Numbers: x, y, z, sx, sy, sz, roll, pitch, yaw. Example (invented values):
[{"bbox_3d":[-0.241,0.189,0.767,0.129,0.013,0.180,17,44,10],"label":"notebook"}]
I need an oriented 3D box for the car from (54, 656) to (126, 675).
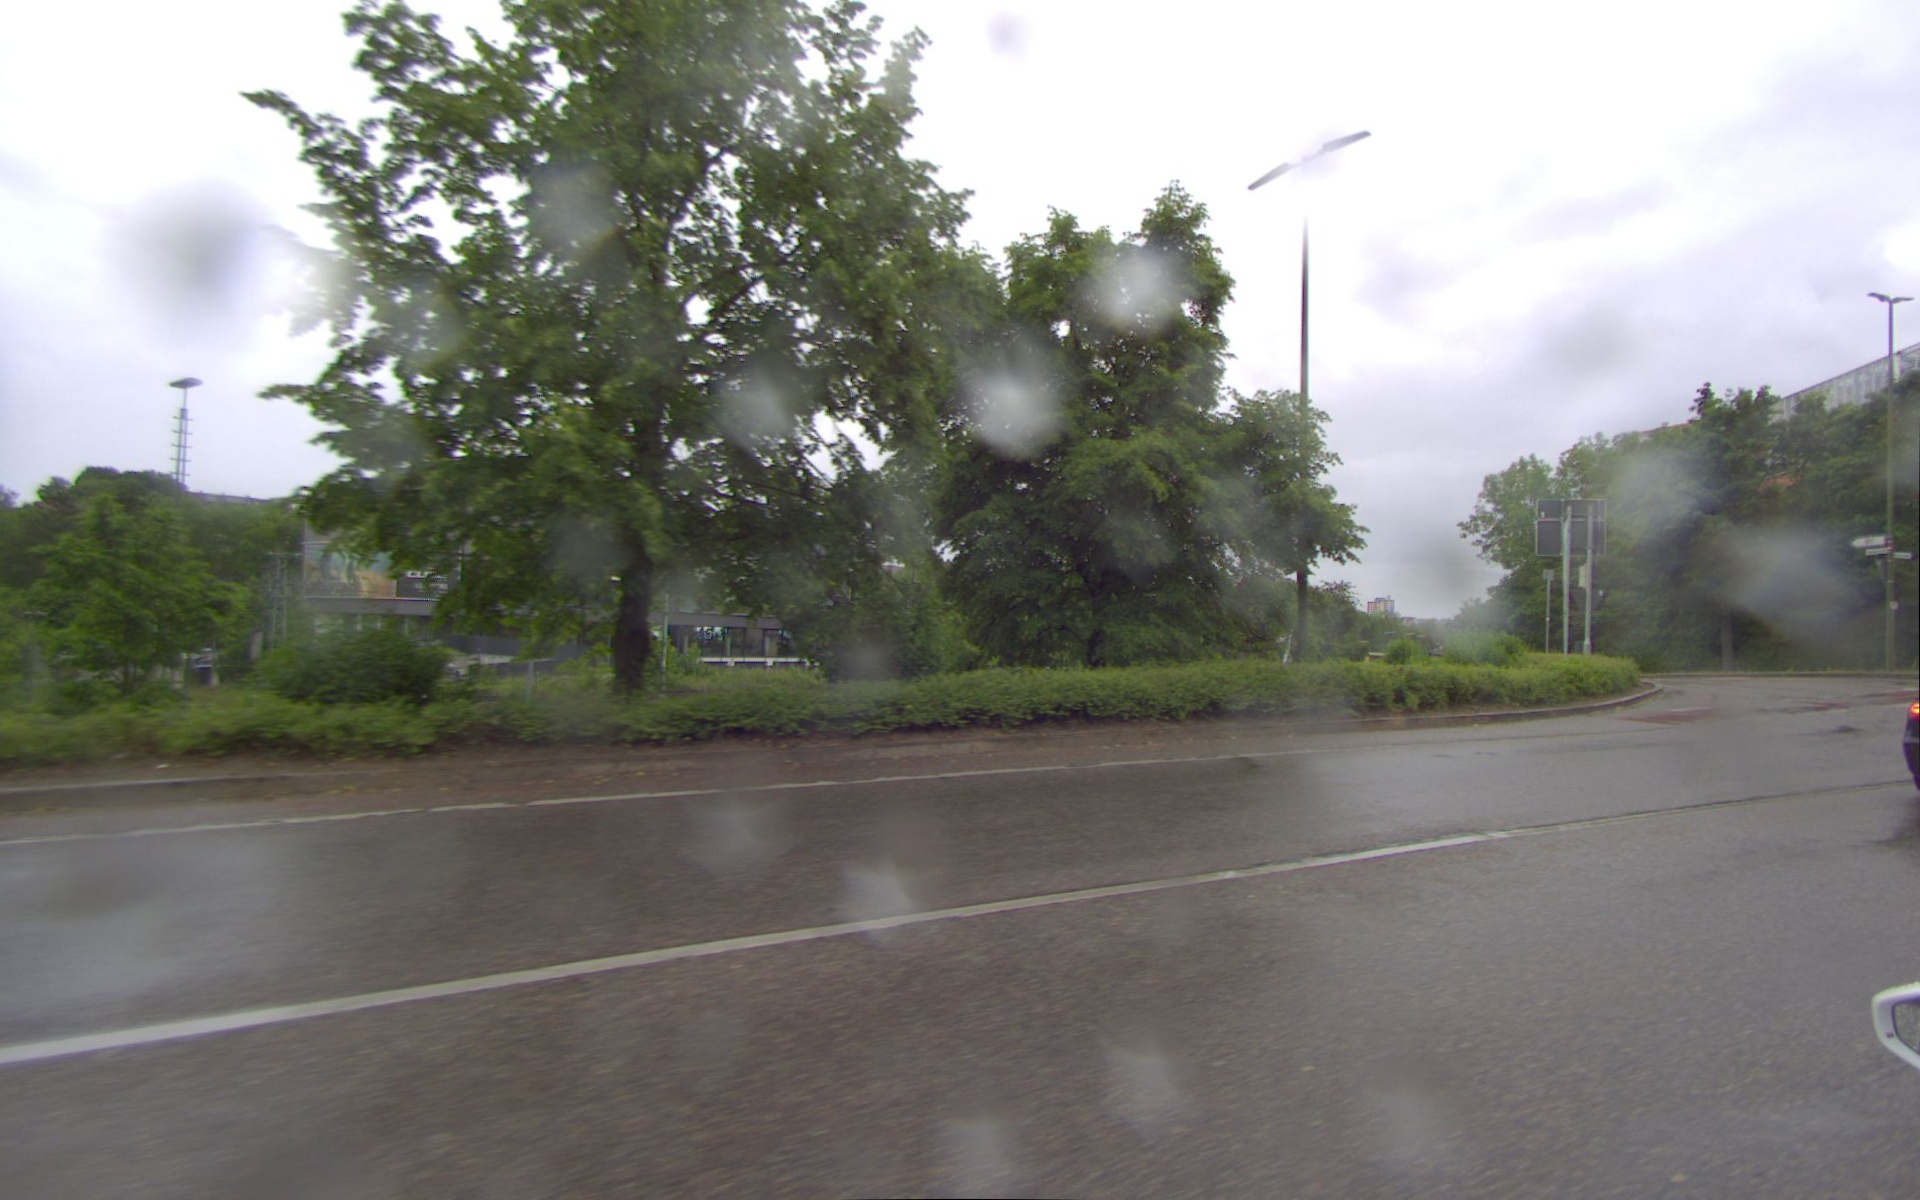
[{"bbox_3d":[-66.998,5.069,77.433,3.960,1.428,1.783,3,-5,-35],"label":"car"}]

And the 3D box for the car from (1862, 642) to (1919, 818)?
[{"bbox_3d":[9.814,1.127,8.636,3.948,1.414,1.748,2,-1,-27],"label":"car"}]
